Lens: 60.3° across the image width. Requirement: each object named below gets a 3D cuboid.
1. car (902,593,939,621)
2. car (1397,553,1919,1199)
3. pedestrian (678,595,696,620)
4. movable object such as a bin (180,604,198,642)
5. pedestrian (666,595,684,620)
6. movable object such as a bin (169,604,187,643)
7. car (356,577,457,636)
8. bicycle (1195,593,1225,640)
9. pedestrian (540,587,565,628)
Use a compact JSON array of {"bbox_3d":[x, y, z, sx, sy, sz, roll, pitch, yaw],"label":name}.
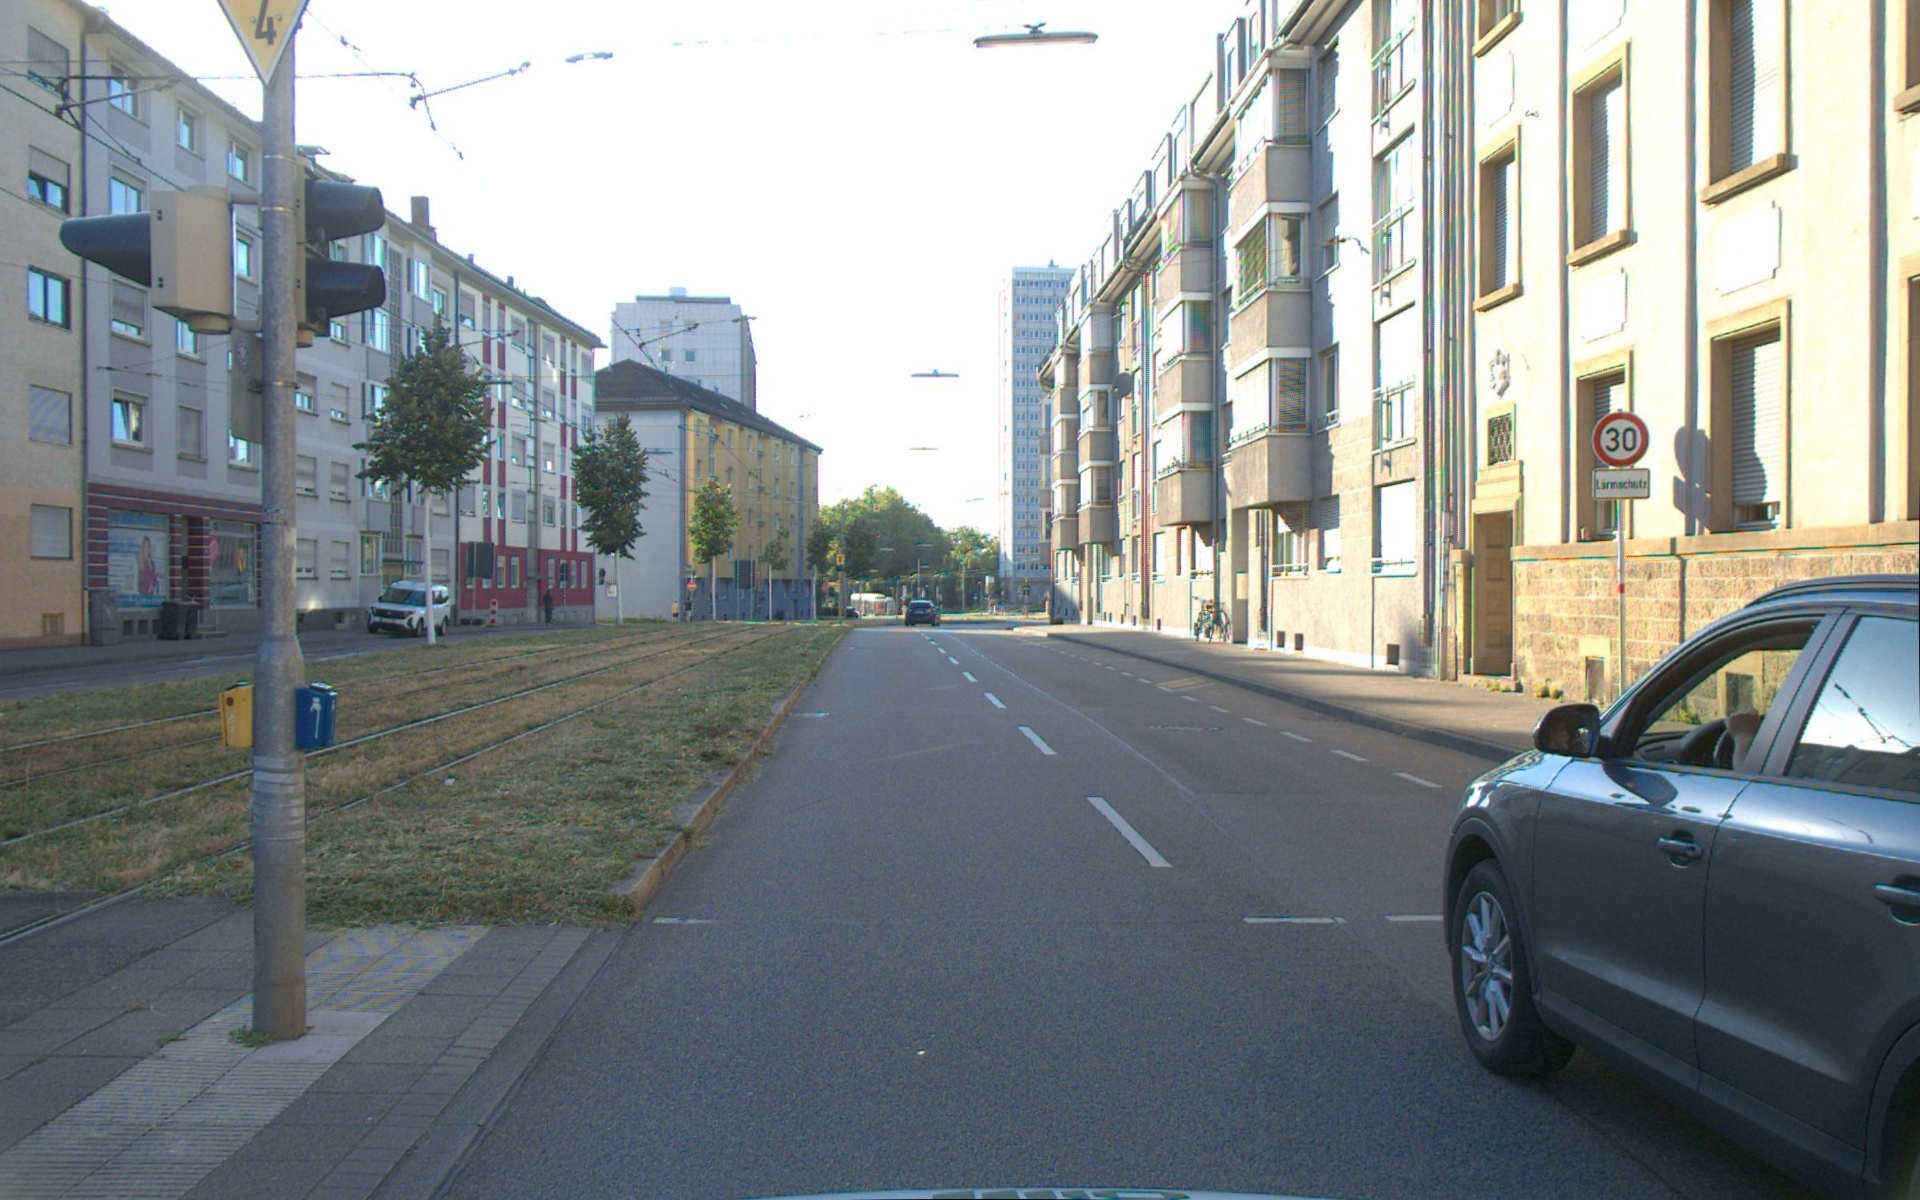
[{"bbox_3d":[-2.254,0.407,94.755,1.886,1.481,4.328,1,0,2],"label":"car"},{"bbox_3d":[2.593,0.728,4.099,1.664,1.580,4.222,2,0,-3],"label":"car"},{"bbox_3d":[-18.574,0.529,112.517,0.942,1.699,1.011,1,-1,3],"label":"pedestrian"},{"bbox_3d":[-21.541,0.632,46.226,0.292,1.055,0.441,1,-1,-3],"label":"movable object such as a bin"},{"bbox_3d":[-19.351,0.505,112.406,0.942,1.723,1.011,1,-1,3],"label":"pedestrian"},{"bbox_3d":[-21.533,0.640,45.540,0.292,1.055,0.441,1,-1,-3],"label":"movable object such as a bin"},{"bbox_3d":[-19.684,0.237,59.039,1.952,1.958,4.542,1,0,1],"label":"car"},{"bbox_3d":[6.147,0.403,40.730,0.376,1.115,1.502,-1,0,-4],"label":"bicycle"},{"bbox_3d":[-20.791,0.399,84.302,0.984,2.071,0.886,1,-1,3],"label":"pedestrian"}]
